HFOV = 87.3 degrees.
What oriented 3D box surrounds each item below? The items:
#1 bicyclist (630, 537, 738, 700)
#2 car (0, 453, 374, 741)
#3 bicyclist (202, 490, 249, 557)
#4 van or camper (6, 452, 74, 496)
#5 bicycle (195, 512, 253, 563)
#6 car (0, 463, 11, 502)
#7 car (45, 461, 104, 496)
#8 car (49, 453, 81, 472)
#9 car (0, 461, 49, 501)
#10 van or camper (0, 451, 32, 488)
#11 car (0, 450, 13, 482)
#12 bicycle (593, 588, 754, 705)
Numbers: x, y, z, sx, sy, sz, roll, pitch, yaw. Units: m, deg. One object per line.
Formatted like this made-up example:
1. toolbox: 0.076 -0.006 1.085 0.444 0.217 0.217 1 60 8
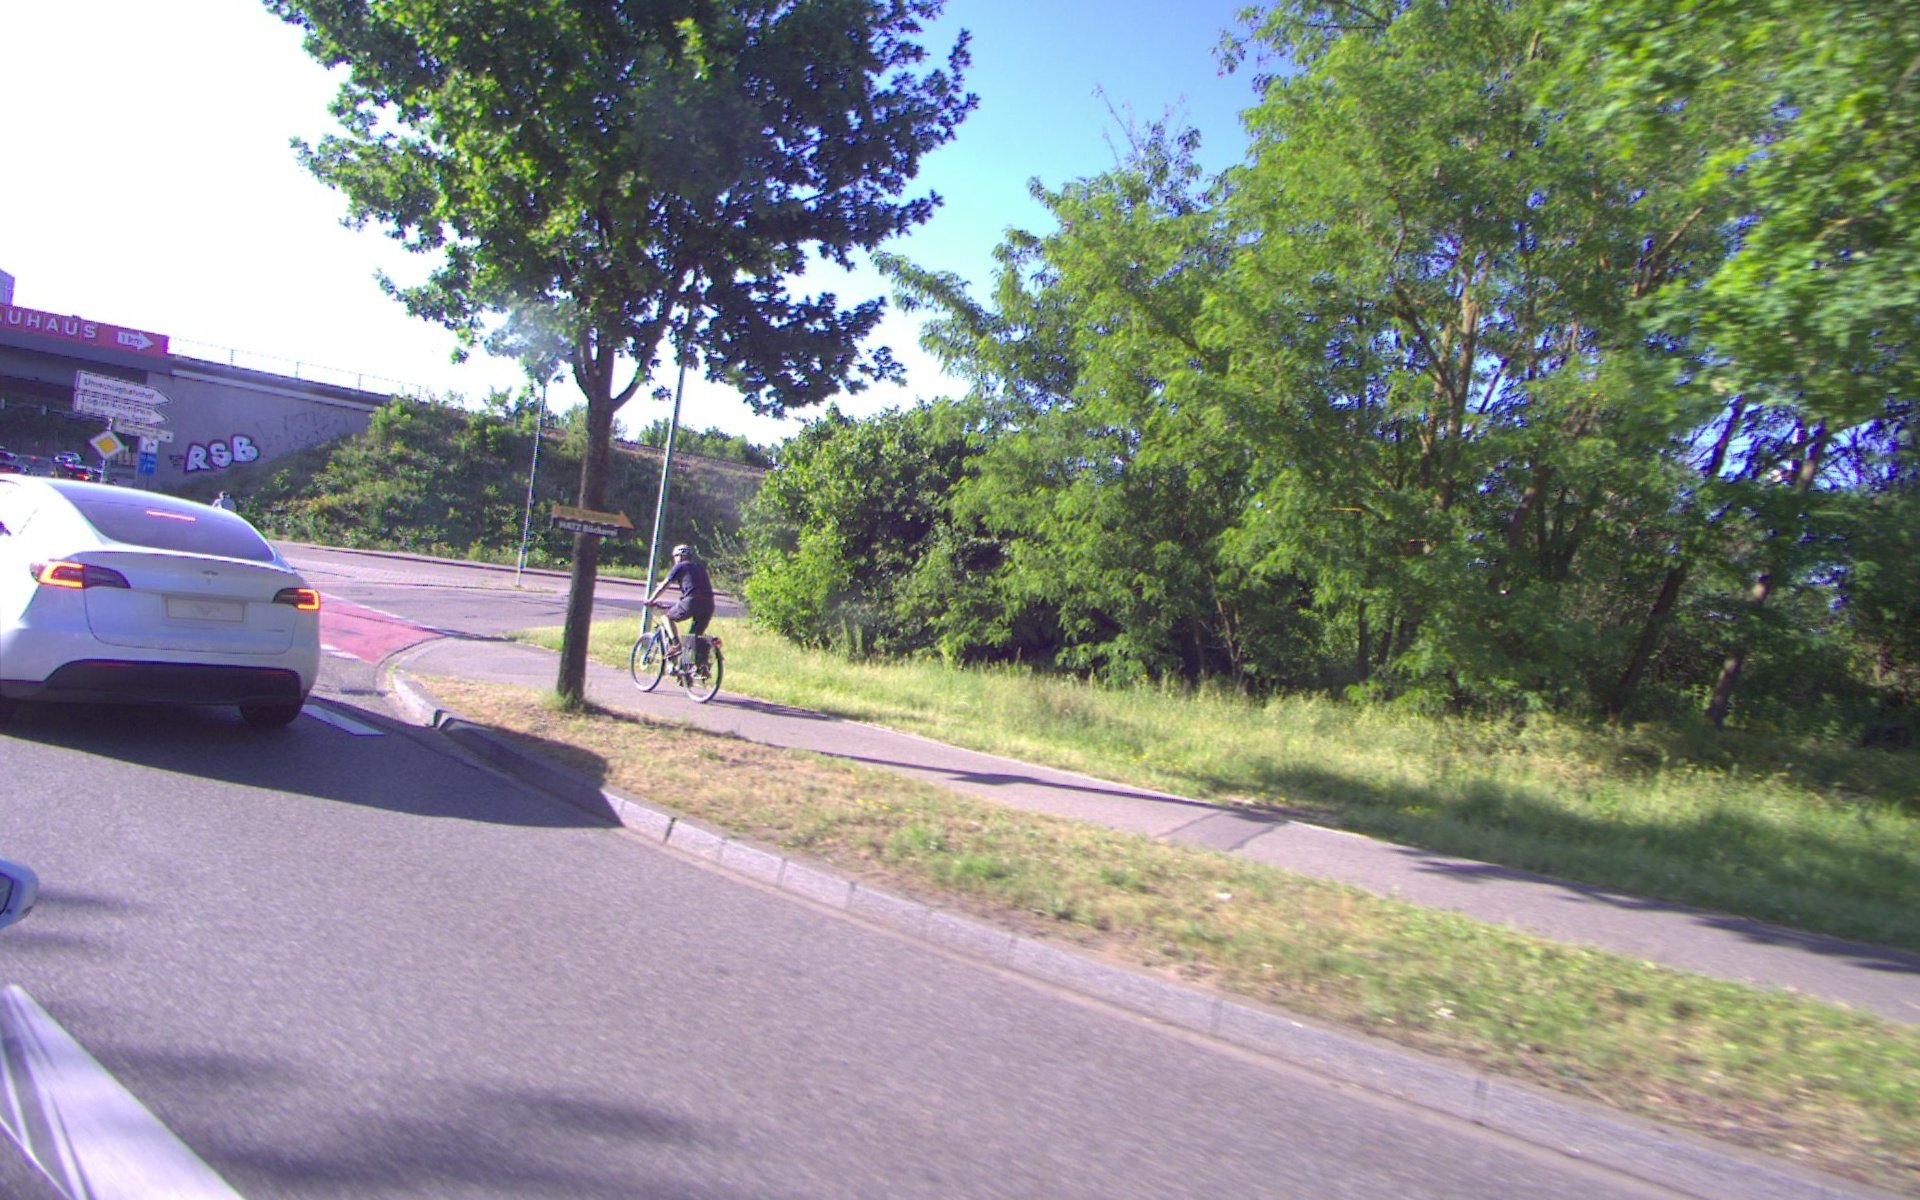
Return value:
1. bicyclist: -3.290 0.213 11.987 0.934 1.800 0.674 8 3 37
2. car: -6.714 -0.095 7.794 4.340 1.659 1.917 6 -3 34
3. bicyclist: -19.346 -2.005 26.494 0.900 1.641 0.744 8 4 42
4. van or camper: -47.333 -6.427 51.847 1.815 1.813 4.500 8 0 -35
5. bicycle: -19.488 -1.663 26.610 2.417 1.127 0.741 8 3 42
6. car: -36.301 -4.442 36.781 1.595 1.452 3.643 9 1 -34
7. car: -50.542 -6.907 57.476 1.696 1.541 3.711 8 1 -31
8. car: -105.142 -16.107 118.221 1.770 1.665 4.168 8 0 -30
9. car: -41.576 -5.277 44.248 1.754 1.494 4.243 7 1 -37
10. van or camper: -52.820 -7.249 55.357 1.743 1.836 3.923 8 1 -33
11. car: -61.911 -8.656 63.553 1.853 1.971 4.558 8 1 -30
12. bicycle: -3.493 0.531 12.162 2.085 1.110 0.694 8 3 37
